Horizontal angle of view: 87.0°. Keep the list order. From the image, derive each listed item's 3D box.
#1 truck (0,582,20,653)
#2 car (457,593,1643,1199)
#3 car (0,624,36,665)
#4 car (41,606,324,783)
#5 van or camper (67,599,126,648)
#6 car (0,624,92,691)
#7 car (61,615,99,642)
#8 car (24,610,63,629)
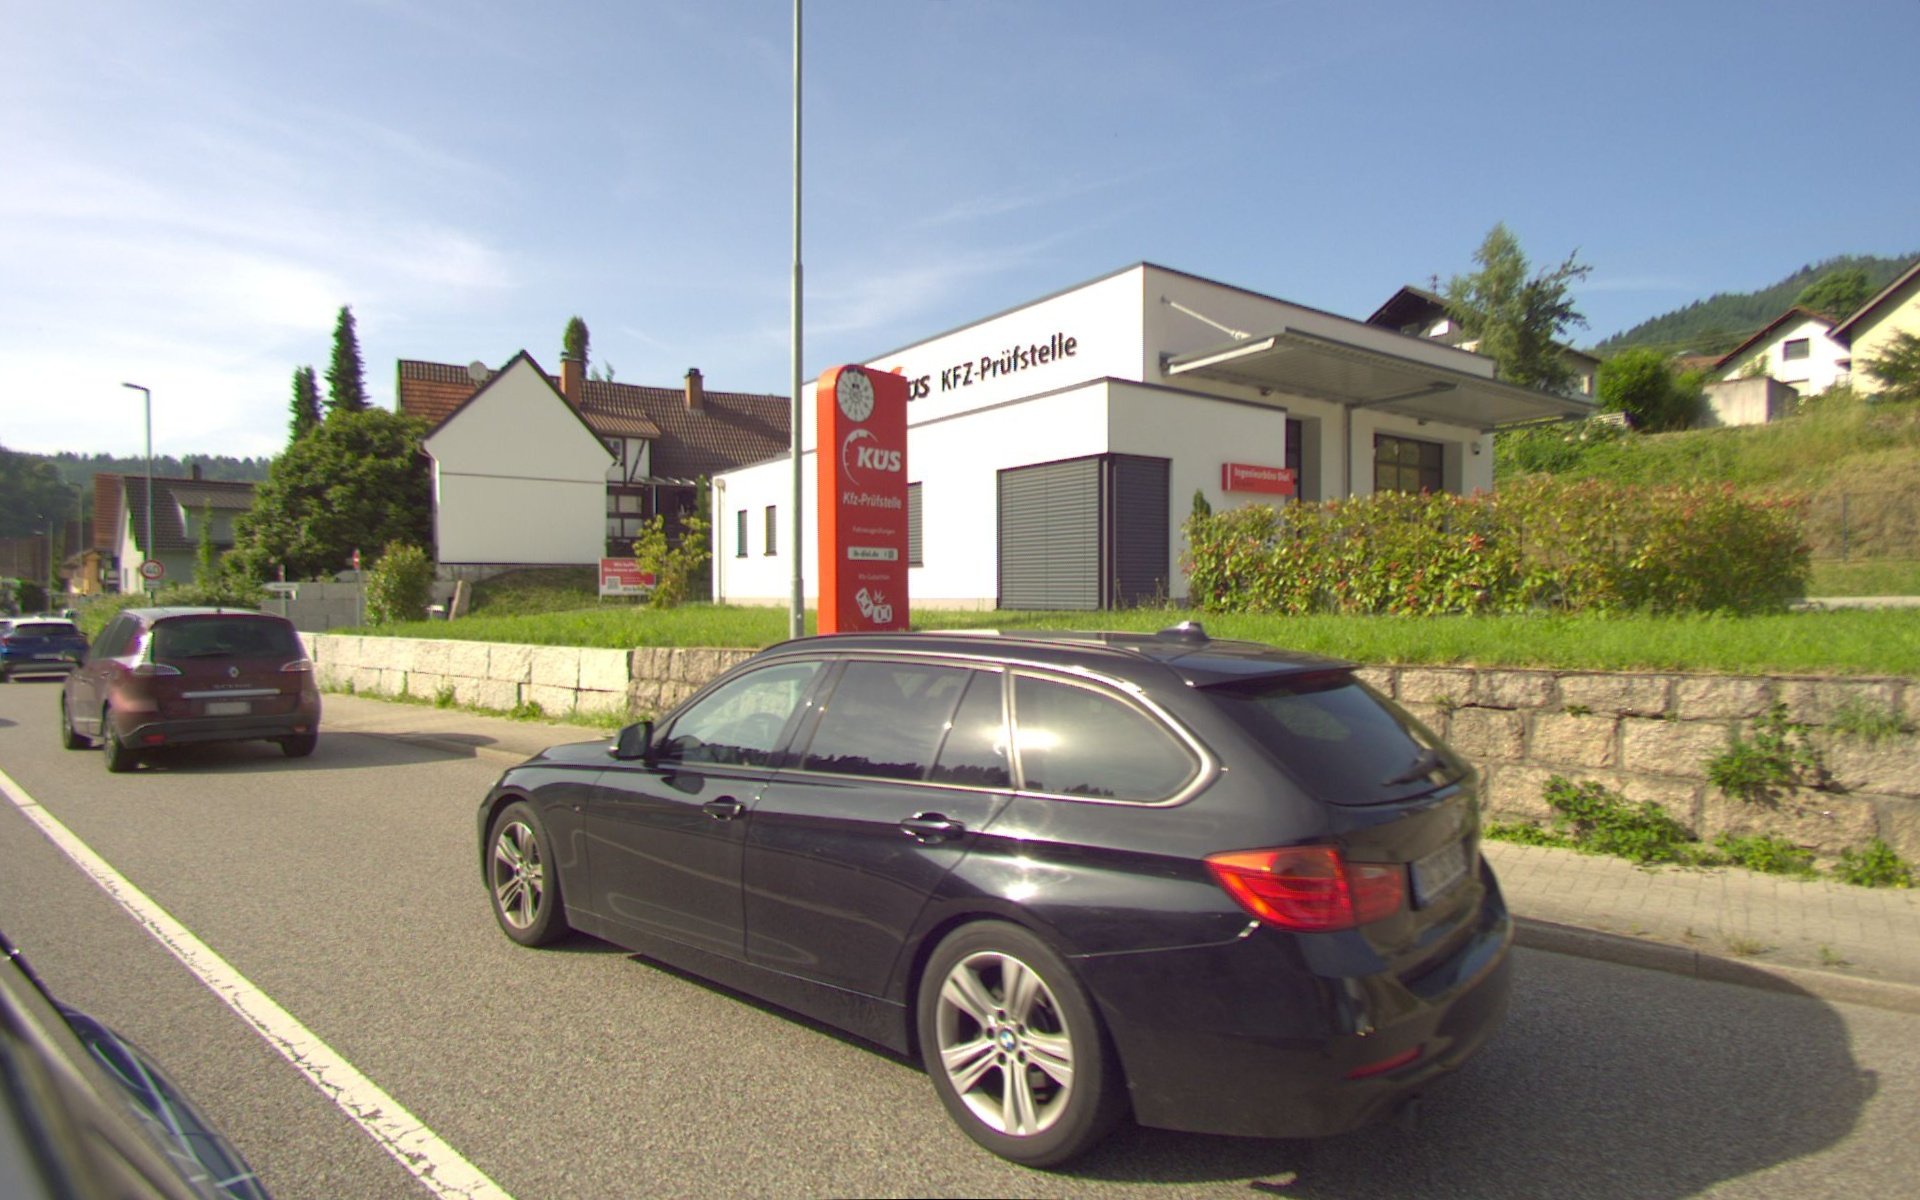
[{"bbox_3d":[-58.103,1.043,60.508,2.548,3.961,11.313,0,-1,-44],"label":"truck"},{"bbox_3d":[-0.067,0.755,3.841,4.231,1.409,1.755,-1,1,41],"label":"car"},{"bbox_3d":[-37.568,1.714,39.637,4.191,1.515,1.730,-2,-1,43],"label":"car"},{"bbox_3d":[-8.947,0.945,11.503,4.461,1.630,1.777,-2,-3,42],"label":"car"},{"bbox_3d":[-47.648,1.267,55.803,2.123,2.574,5.906,-1,0,-44],"label":"van or camper"},{"bbox_3d":[-23.401,1.397,25.579,3.999,1.538,1.725,-2,-2,42],"label":"car"},{"bbox_3d":[-60.720,1.941,69.816,1.878,1.677,4.273,-2,1,-41],"label":"car"},{"bbox_3d":[-77.524,1.666,85.572,4.233,1.530,1.865,-1,1,40],"label":"car"}]
